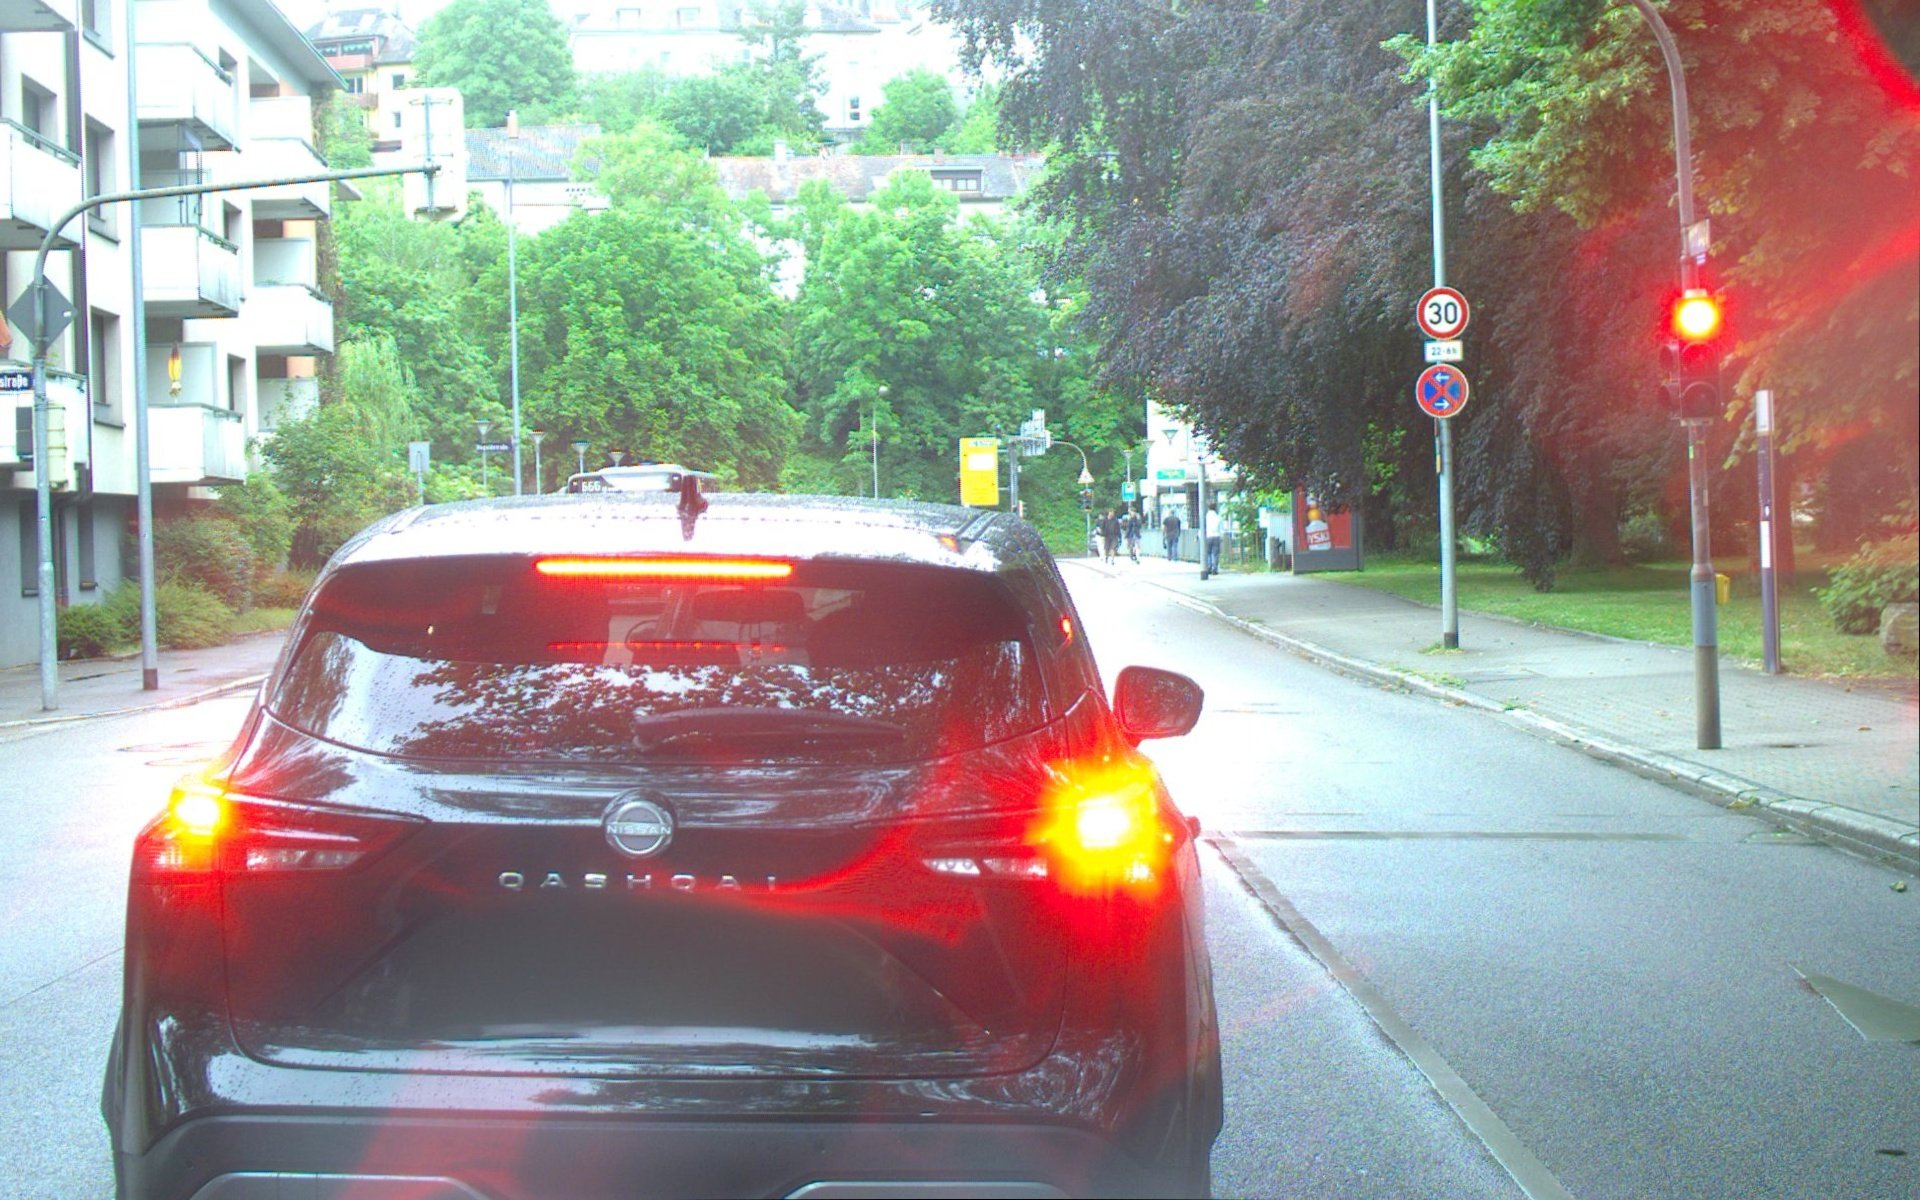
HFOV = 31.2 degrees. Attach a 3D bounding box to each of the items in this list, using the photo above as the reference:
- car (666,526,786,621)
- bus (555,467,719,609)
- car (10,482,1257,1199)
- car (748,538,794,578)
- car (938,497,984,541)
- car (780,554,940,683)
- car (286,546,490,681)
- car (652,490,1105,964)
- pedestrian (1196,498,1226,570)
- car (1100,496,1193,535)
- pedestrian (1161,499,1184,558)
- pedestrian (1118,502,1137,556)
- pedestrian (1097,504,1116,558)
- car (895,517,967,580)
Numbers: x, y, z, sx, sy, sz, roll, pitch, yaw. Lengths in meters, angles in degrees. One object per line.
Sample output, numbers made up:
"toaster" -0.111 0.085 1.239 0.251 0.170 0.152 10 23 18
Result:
"car" -3.699 -0.439 54.866 1.624 1.410 3.455 -2 1 0
"bus" -7.367 -1.432 79.992 2.766 2.964 11.782 -2 1 -1
"car" -0.502 0.612 7.022 1.806 1.584 4.000 1 1 -1
"car" -7.549 -1.678 137.443 1.676 1.464 4.217 -3 1 -2
"car" 0.017 -3.220 136.576 1.750 1.628 3.635 -2 1 0
"car" -1.195 0.186 41.081 1.808 1.412 4.031 0 1 -2
"car" -6.756 0.118 40.968 1.808 1.412 4.031 -3 1 -2
"car" -0.268 0.434 14.663 1.622 1.703 3.771 -2 1 1
"pedestrian" 6.342 -1.668 86.926 0.618 1.773 0.778 -2 1 -1
"car" 8.890 -4.013 163.843 3.986 1.678 2.001 -2 1 -10
"pedestrian" 6.533 -2.202 105.737 0.618 1.773 0.551 -2 1 -1
"pedestrian" 5.107 -2.157 104.849 0.514 1.650 0.550 1 0 -1
"pedestrian" 4.518 -2.121 106.128 0.544 1.645 0.490 1 0 0
"car" -0.673 -1.251 82.261 1.624 1.410 3.455 -2 1 0
